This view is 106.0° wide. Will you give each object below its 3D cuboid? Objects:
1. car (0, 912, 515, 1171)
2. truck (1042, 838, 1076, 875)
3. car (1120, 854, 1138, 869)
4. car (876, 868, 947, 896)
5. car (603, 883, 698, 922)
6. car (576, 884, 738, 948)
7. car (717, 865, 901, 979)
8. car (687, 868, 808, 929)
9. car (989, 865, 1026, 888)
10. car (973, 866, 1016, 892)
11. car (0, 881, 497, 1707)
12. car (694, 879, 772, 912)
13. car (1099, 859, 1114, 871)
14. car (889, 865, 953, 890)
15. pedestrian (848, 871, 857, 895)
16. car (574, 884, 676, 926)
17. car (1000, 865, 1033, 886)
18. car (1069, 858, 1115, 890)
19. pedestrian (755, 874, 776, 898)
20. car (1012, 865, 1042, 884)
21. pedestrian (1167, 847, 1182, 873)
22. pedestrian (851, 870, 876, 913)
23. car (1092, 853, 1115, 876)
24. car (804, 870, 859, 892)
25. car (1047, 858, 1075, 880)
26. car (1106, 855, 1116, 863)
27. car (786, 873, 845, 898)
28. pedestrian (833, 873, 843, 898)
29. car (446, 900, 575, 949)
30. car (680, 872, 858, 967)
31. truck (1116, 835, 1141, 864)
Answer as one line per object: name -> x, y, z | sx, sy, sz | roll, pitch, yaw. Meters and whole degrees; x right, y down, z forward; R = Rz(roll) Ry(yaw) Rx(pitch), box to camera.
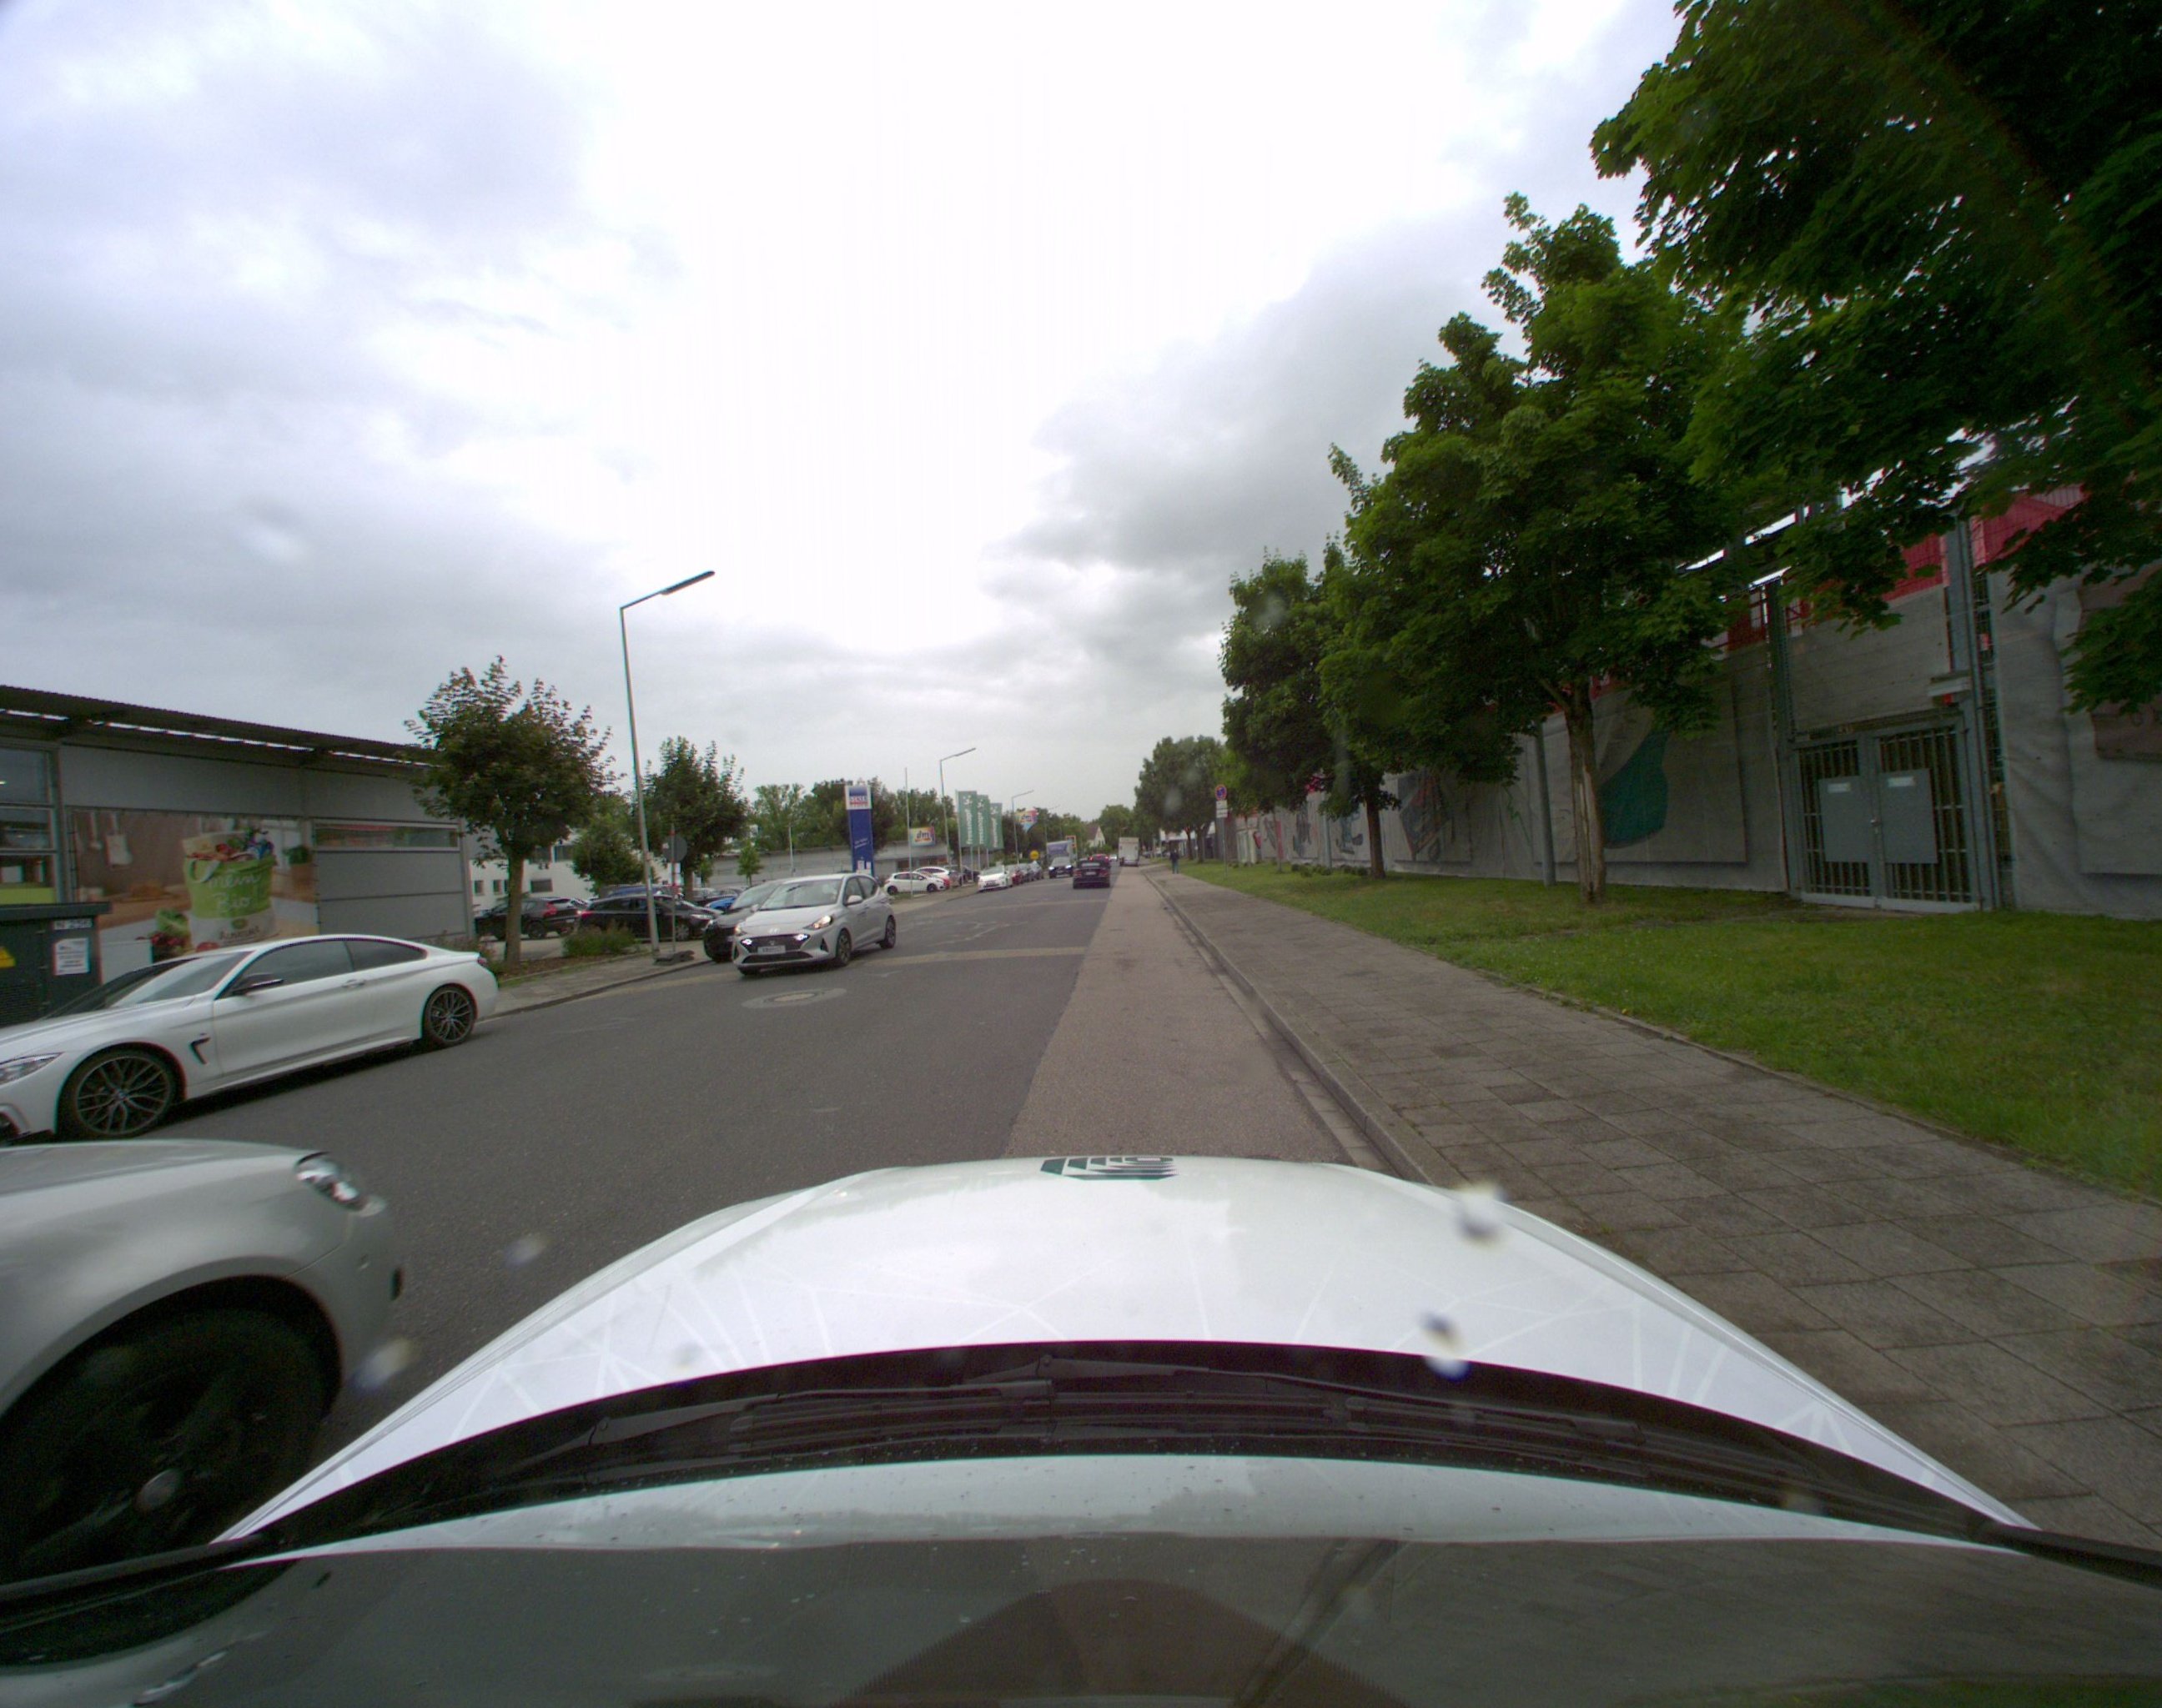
car -> -7.743, 1.495, 7.396 | 1.692, 1.367, 4.521 | -9, -1, 3
truck -> -2.563, 0.336, 96.694 | 2.961, 3.955, 6.411 | -6, 0, 4
car -> 5.947, 0.955, 101.178 | 1.986, 1.806, 4.002 | -3, -1, 2
car -> -11.043, 1.801, 53.301 | 4.196, 1.463, 1.950 | -4, 0, -5
car -> -22.992, 2.581, 43.624 | 3.970, 1.669, 1.878 | -5, 0, 3
car -> -12.870, 1.856, 24.899 | 3.857, 1.620, 1.929 | -3, 0, 3
car -> -4.444, 1.037, 13.877 | 1.592, 1.528, 3.531 | -6, -1, 4
car -> -13.137, 1.720, 32.247 | 3.922, 2.013, 1.759 | -5, 0, -4
car -> -5.121, 1.549, 57.419 | 1.890, 1.367, 4.004 | -5, 0, 3
car -> -5.362, 1.534, 50.813 | 1.890, 1.367, 4.004 | -5, 0, 3
car -> -2.867, 0.880, 0.365 | 1.745, 1.451, 4.303 | -5, 0, 5
car -> -22.002, 2.624, 51.522 | 3.970, 1.669, 1.878 | -5, 0, 3
car -> 3.522, 1.451, 112.583 | 1.878, 1.531, 4.259 | -3, 0, 4
car -> -11.438, 1.658, 58.320 | 4.125, 1.463, 1.897 | -5, 0, -3
pedestrian -> -15.089, 1.926, 53.741 | 0.359, 1.570, 0.503 | -4, -1, -7
car -> -23.014, 2.548, 41.157 | 3.970, 1.669, 1.878 | -5, 0, 3
car -> -4.935, 1.617, 62.914 | 1.890, 1.367, 4.004 | -5, 0, 3
car -> 0.578, 0.928, 39.686 | 1.736, 1.358, 4.145 | -4, -1, 6
pedestrian -> -29.247, 2.976, 75.397 | 1.394, 2.013, 1.197 | -5, -1, -37
car -> -4.527, 1.679, 68.784 | 1.890, 1.367, 4.004 | -5, 0, 3
pedestrian -> 6.145, 0.404, 53.641 | 0.914, 1.635, 0.854 | -3, -1, 5
pedestrian -> -9.060, 1.568, 33.929 | 0.773, 1.715, 0.696 | -4, -1, -1
car -> 1.814, 0.850, 66.412 | 1.675, 1.632, 3.758 | -5, 0, 0
car -> -21.120, 2.306, 69.153 | 3.969, 1.492, 1.788 | -5, 0, 4
car -> -1.579, 1.208, 66.221 | 1.986, 1.684, 4.002 | -3, -1, 2
car -> 6.709, 1.137, 182.009 | 1.878, 1.531, 4.259 | -3, 0, 4
car -> -21.333, 2.539, 65.586 | 3.970, 1.669, 1.878 | -5, 0, 3
pedestrian -> -15.985, 2.066, 53.549 | 0.456, 1.642, 0.372 | -4, -1, -14
car -> -22.627, 2.751, 32.503 | 4.015, 1.485, 1.857 | -4, 0, -32
car -> -6.735, 1.336, 18.198 | 1.940, 1.526, 4.404 | -9, -1, 2
truck -> 6.346, -0.557, 110.483 | 3.123, 3.585, 10.055 | -3, -1, 2
